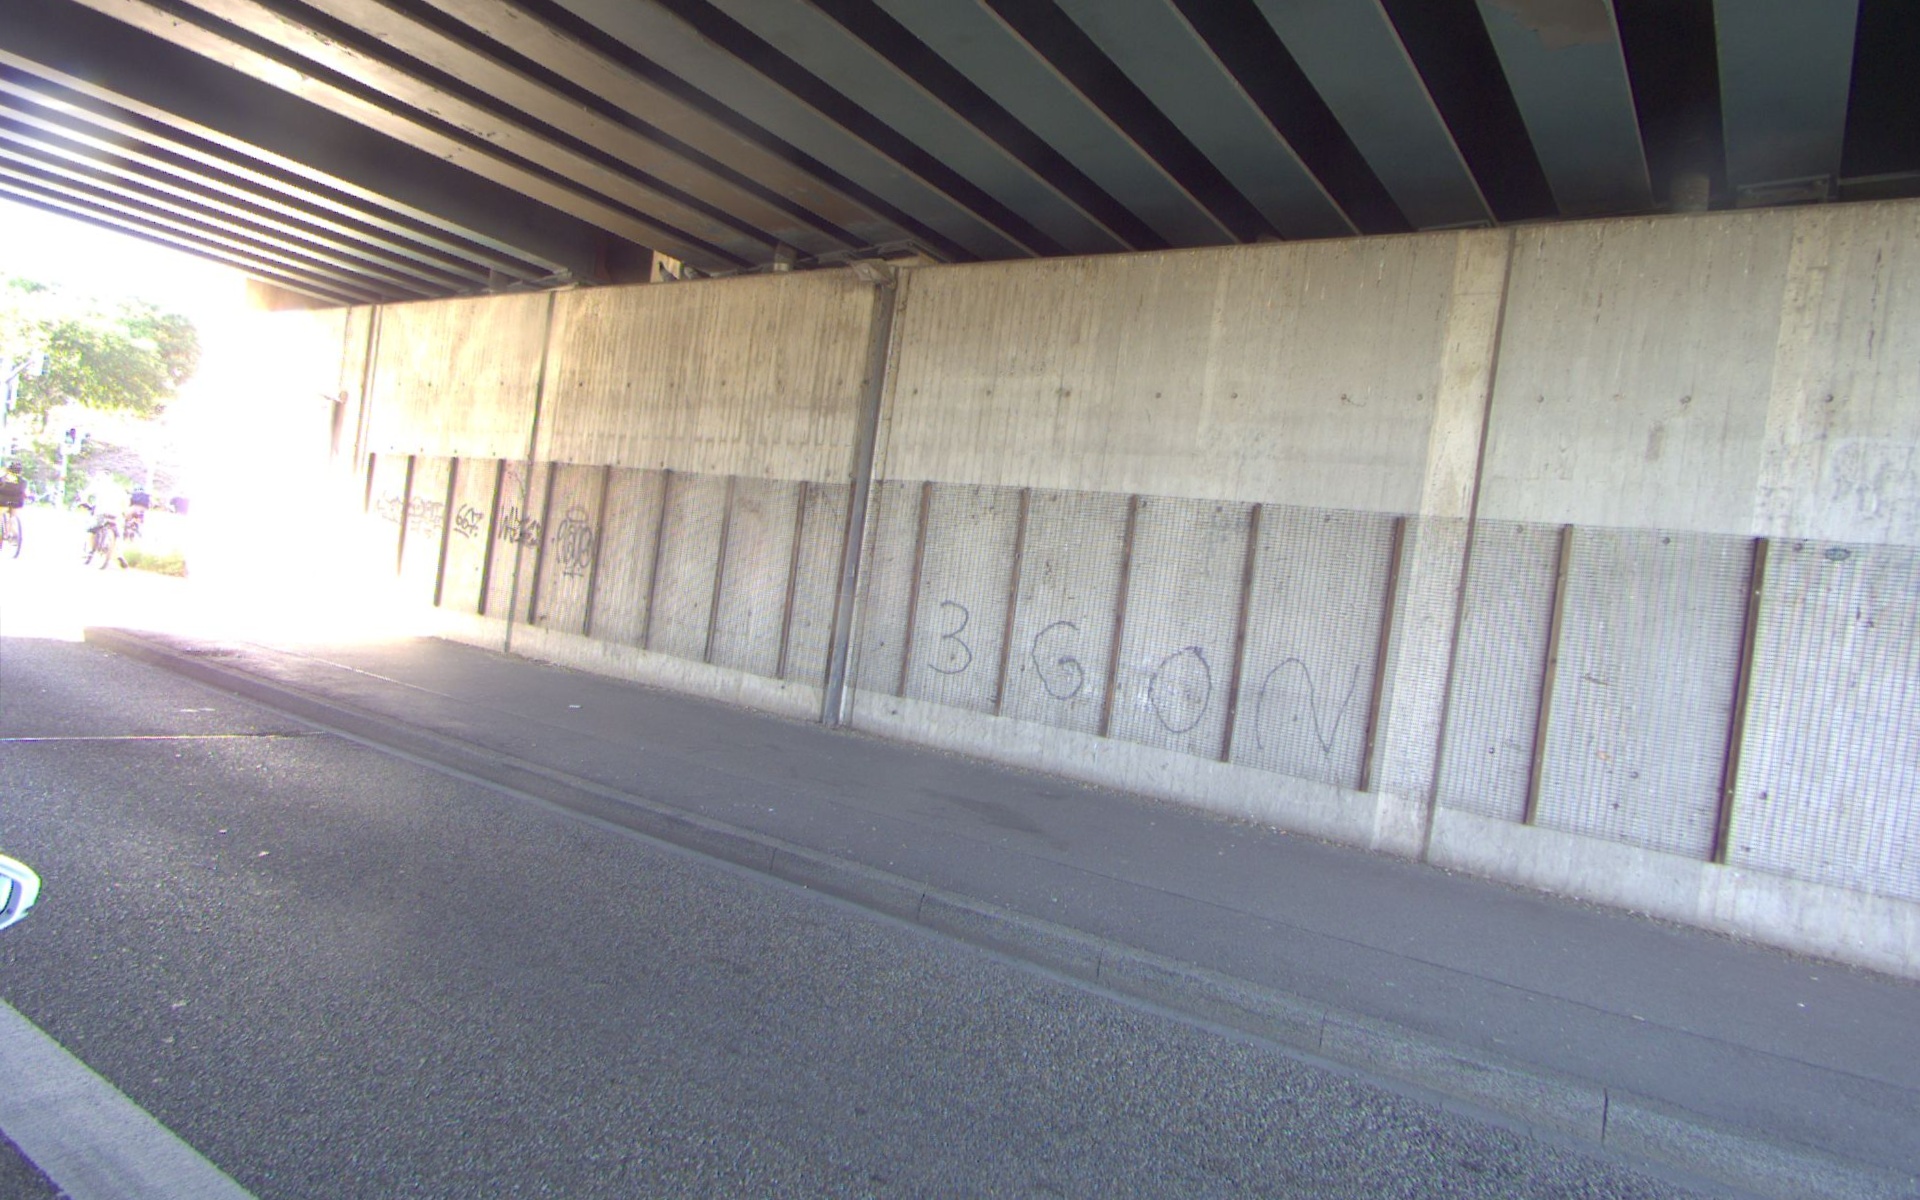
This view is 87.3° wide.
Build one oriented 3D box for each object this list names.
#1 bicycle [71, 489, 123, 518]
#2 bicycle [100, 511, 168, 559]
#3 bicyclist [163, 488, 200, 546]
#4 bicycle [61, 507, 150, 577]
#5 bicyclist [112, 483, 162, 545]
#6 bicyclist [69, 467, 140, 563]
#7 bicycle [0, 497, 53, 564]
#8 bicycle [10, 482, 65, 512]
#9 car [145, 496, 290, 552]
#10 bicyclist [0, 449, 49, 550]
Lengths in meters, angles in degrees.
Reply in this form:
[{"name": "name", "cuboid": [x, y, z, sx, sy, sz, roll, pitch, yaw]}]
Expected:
[{"name": "bicycle", "cuboid": [-41.077, -4.581, 47.894, 0.586, 1.035, 1.743, 6, -2, 43]}, {"name": "bicycle", "cuboid": [-21.386, -1.697, 26.047, 2.022, 1.035, 0.672, 6, -2, 32]}, {"name": "bicyclist", "cuboid": [-21.635, -2.303, 27.961, 0.646, 1.499, 0.612, 8, 0, -38]}, {"name": "bicycle", "cuboid": [-14.894, -1.025, 17.530, 1.721, 1.035, 0.593, 6, -1, 32]}, {"name": "bicyclist", "cuboid": [-21.315, -2.226, 26.057, 0.739, 1.491, 0.666, 6, -1, 32]}, {"name": "bicyclist", "cuboid": [-14.961, -1.485, 17.598, 0.756, 1.566, 0.593, 6, -1, 32]}, {"name": "bicycle", "cuboid": [-16.471, -1.237, 17.456, 1.722, 1.035, 0.592, 6, -1, 34]}, {"name": "bicycle", "cuboid": [-42.888, -4.784, 46.777, 0.585, 1.035, 1.744, 6, -2, 40]}, {"name": "car", "cuboid": [-31.298, -3.175, 42.527, 1.801, 1.531, 4.548, 6, -3, 39]}, {"name": "bicyclist", "cuboid": [-16.580, -1.757, 17.590, 0.927, 1.632, 0.592, 6, -1, 33]}]
